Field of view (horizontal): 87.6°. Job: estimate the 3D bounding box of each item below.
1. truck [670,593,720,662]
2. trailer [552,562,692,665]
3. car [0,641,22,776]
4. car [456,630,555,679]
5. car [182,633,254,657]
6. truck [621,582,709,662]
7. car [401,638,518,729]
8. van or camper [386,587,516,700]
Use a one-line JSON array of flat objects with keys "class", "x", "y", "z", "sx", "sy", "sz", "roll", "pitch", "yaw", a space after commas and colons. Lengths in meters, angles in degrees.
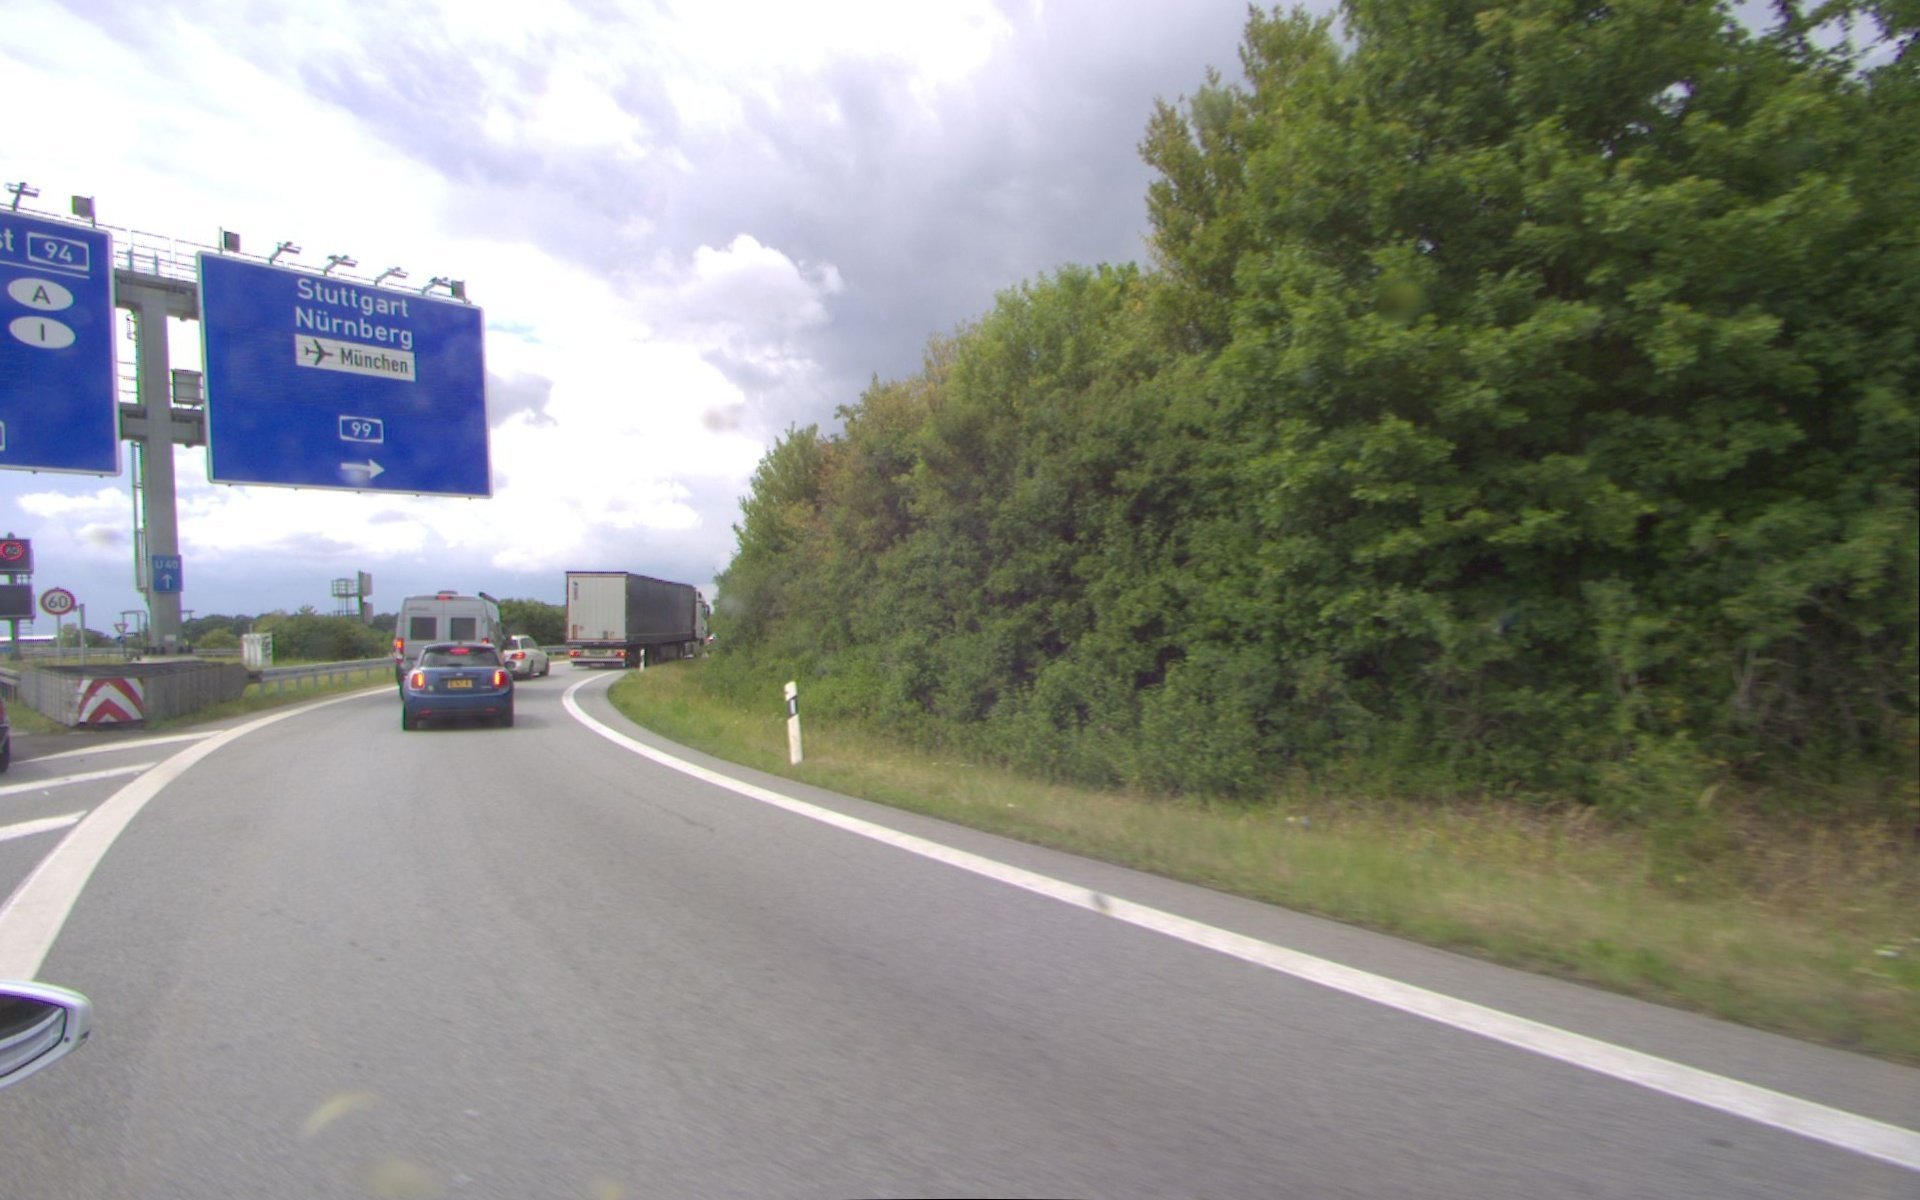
[{"class": "truck", "x": -19.251, "y": 1.918, "z": 72.452, "sx": 3.225, "sy": 4.676, "sz": 8.976, "roll": 0, "pitch": -1, "yaw": -16}, {"class": "trailer", "x": -15.699, "y": 0.750, "z": 47.820, "sx": 3.277, "sy": 4.246, "sz": 13.035, "roll": 0, "pitch": -2, "yaw": -5}, {"class": "car", "x": -11.984, "y": 1.178, "z": 11.289, "sx": 4.092, "sy": 1.395, "sz": 1.773, "roll": -2, "pitch": -1, "yaw": 43}, {"class": "car", "x": -15.668, "y": 1.830, "z": 34.808, "sx": 2.172, "sy": 1.520, "sz": 4.783, "roll": -1, "pitch": -1, "yaw": -13}, {"class": "car", "x": -58.189, "y": 3.529, "z": 78.612, "sx": 4.164, "sy": 1.794, "sz": 2.001, "roll": 0, "pitch": -1, "yaw": 0}, {"class": "truck", "x": -16.315, "y": 1.243, "z": 55.905, "sx": 3.305, "sy": 4.147, "sz": 6.791, "roll": 0, "pitch": -1, "yaw": -4}, {"class": "car", "x": -8.964, "y": 1.417, "z": 17.972, "sx": 1.709, "sy": 1.437, "sz": 3.651, "roll": 1, "pitch": -2, "yaw": -27}, {"class": "van or camper", "x": -13.172, "y": 1.081, "z": 26.331, "sx": 2.262, "sy": 2.601, "sz": 6.147, "roll": 0, "pitch": -1, "yaw": -20}]
